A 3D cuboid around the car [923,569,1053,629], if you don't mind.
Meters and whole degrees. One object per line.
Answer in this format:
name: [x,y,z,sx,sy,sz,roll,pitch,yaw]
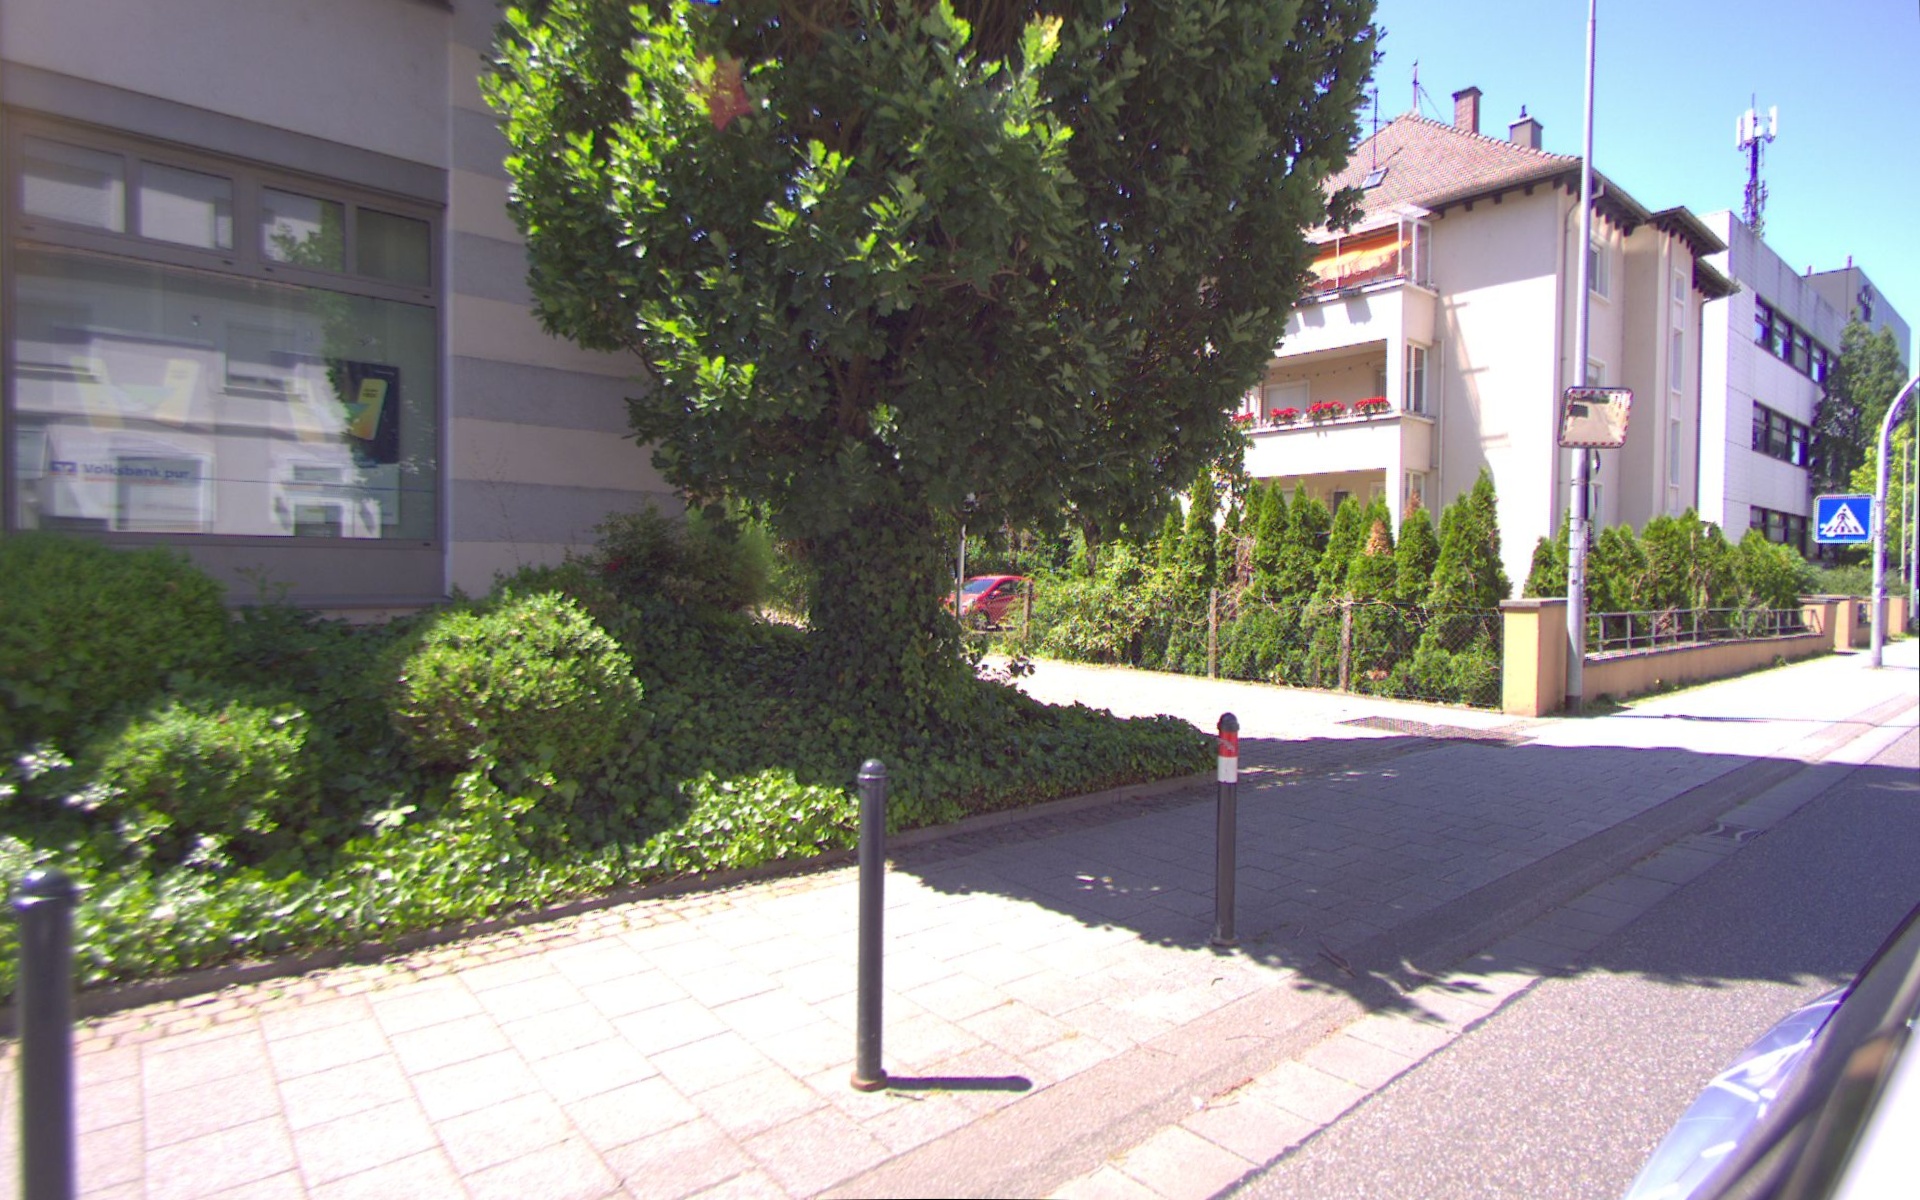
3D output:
car: [0.790,-0.060,27.215,1.608,1.477,3.448,2,2,44]
